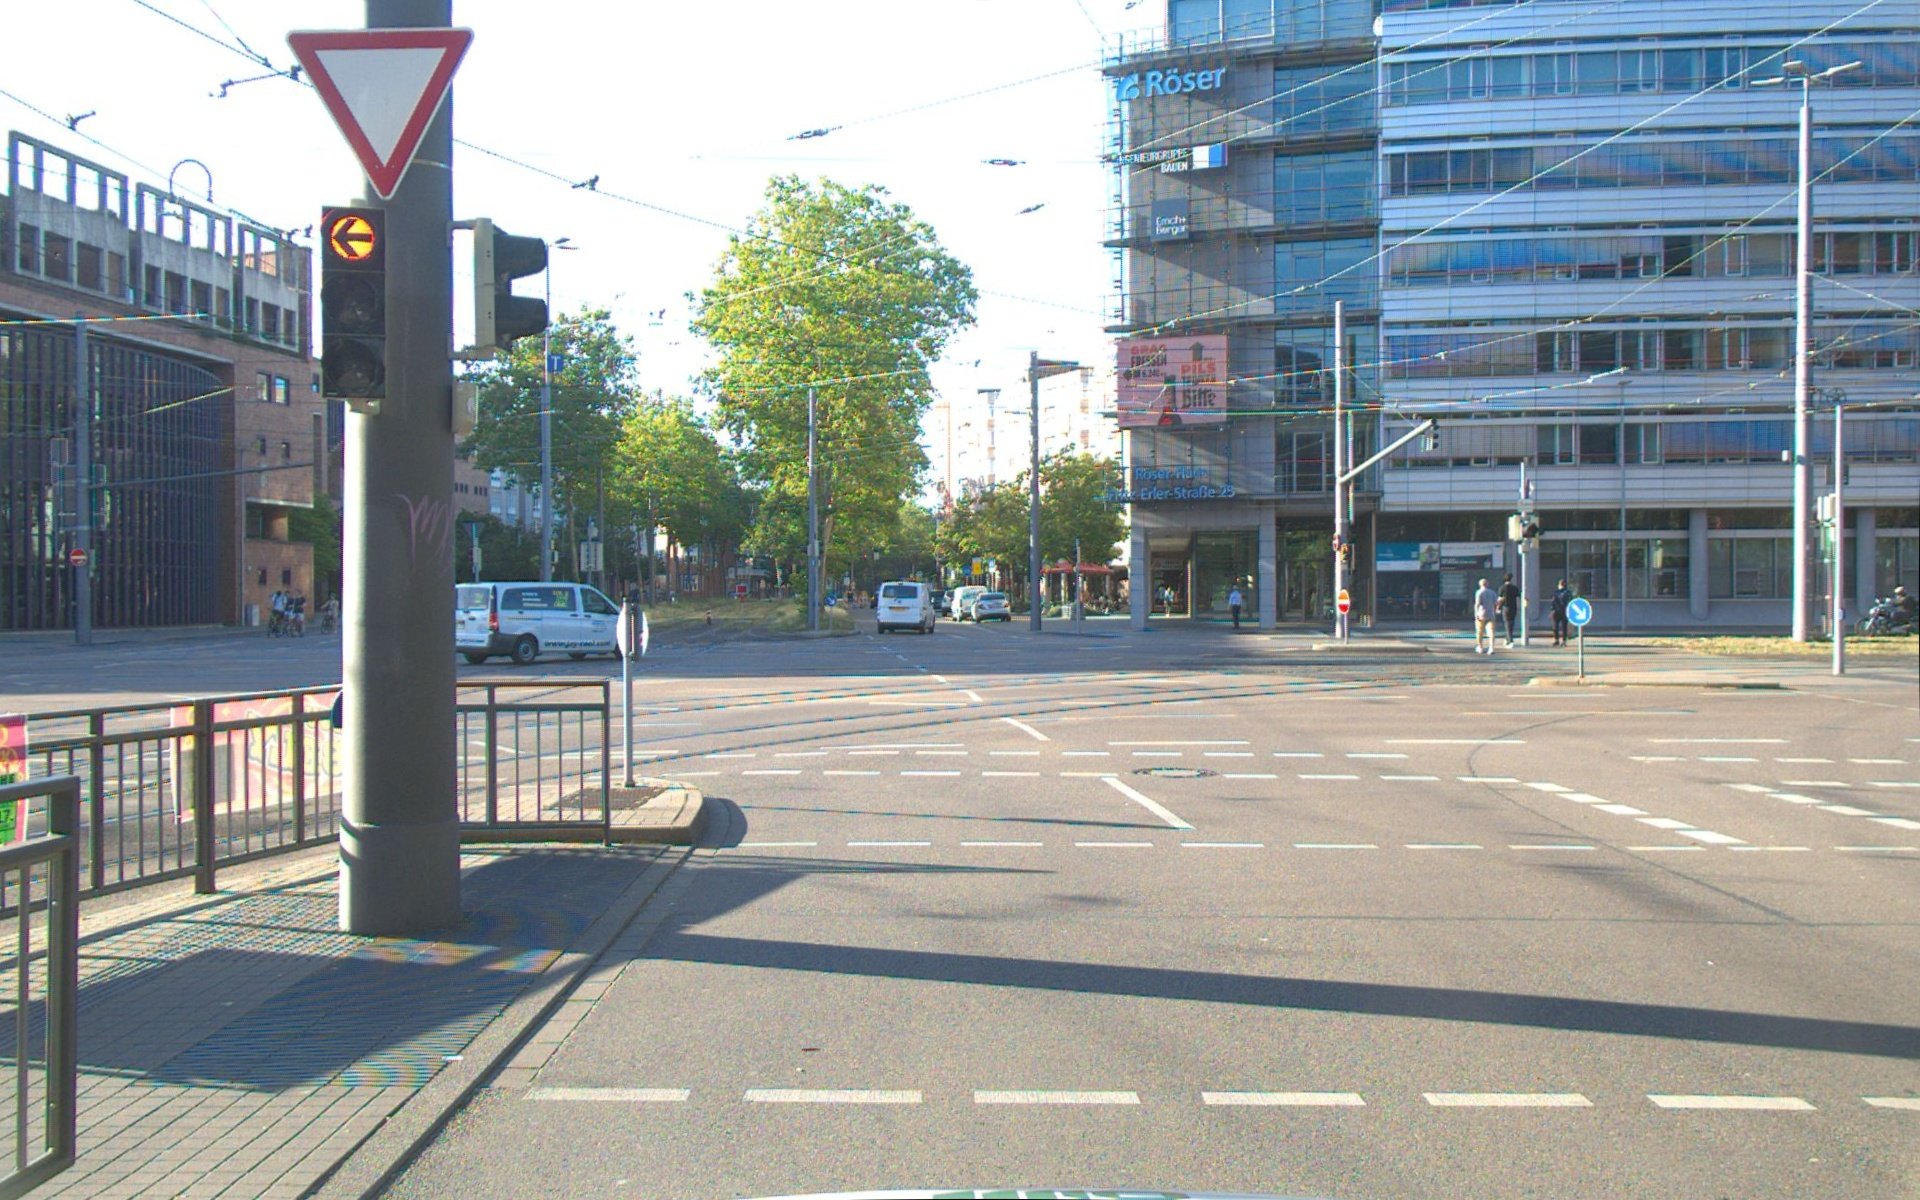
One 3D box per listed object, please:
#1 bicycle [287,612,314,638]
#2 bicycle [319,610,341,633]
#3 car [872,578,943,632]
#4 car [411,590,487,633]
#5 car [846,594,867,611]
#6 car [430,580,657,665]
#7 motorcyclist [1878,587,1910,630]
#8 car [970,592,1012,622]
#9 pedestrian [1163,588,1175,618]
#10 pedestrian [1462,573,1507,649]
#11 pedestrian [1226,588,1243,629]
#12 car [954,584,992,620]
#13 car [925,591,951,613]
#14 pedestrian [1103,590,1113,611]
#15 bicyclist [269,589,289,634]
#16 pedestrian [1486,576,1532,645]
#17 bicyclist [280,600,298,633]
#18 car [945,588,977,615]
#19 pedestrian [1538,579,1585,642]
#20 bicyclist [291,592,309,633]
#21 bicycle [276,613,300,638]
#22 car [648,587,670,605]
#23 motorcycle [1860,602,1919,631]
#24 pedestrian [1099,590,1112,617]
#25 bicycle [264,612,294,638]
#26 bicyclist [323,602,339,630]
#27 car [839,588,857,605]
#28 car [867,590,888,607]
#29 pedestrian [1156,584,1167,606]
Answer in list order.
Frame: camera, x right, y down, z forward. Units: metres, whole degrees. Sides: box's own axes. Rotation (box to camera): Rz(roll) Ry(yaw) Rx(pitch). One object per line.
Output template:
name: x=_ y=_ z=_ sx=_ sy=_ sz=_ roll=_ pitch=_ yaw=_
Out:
bicycle: x=-26.012 y=0.970 z=65.244 sx=0.463 sy=0.980 sz=1.575 roll=-1 pitch=0 yaw=-1
bicycle: x=-27.083 y=0.923 z=71.111 sx=0.442 sy=0.980 sz=1.347 roll=-1 pitch=0 yaw=-1
car: x=-1.878 y=0.151 z=60.645 sx=1.718 sy=1.899 sz=4.529 roll=-1 pitch=0 yaw=9
car: x=-20.668 y=0.444 z=67.037 sx=1.953 sy=1.668 sz=3.999 roll=-1 pitch=0 yaw=-2
car: x=-9.151 y=0.216 z=146.999 sx=1.762 sy=1.467 sz=3.998 roll=1 pitch=0 yaw=-3
car: x=-9.785 y=0.483 z=39.302 sx=1.926 sy=1.881 sz=5.314 roll=-1 pitch=0 yaw=34
motorcyclist: x=27.994 y=0.255 z=49.575 sx=0.697 sy=1.298 sz=0.460 roll=-1 pitch=0 yaw=3
car: x=1.536 y=0.334 z=82.789 sx=1.953 sy=1.400 sz=3.999 roll=-1 pitch=0 yaw=-1
pedestrian: x=10.576 y=0.156 z=83.765 sx=0.599 sy=1.534 sz=0.579 roll=-1 pitch=0 yaw=7
pedestrian: x=12.819 y=0.269 z=40.435 sx=0.845 sy=1.820 sz=0.872 roll=-1 pitch=0 yaw=4
pedestrian: x=10.512 y=0.320 z=63.365 sx=0.599 sy=1.534 sz=0.579 roll=-1 pitch=0 yaw=3
car: x=0.687 y=0.114 z=89.575 sx=1.953 sy=1.892 sz=3.999 roll=-1 pitch=0 yaw=-1
car: x=-1.679 y=0.128 z=126.635 sx=1.953 sy=1.646 sz=3.999 roll=-1 pitch=0 yaw=-1
pedestrian: x=9.404 y=0.025 z=105.074 sx=0.565 sy=1.311 sz=0.910 roll=-1 pitch=0 yaw=-1
bicyclist: x=-26.828 y=0.448 z=65.165 sx=0.525 sy=1.761 sz=0.581 roll=-1 pitch=0 yaw=-1
pedestrian: x=13.951 y=0.258 z=42.077 sx=0.893 sy=1.714 sz=1.036 roll=-1 pitch=0 yaw=6
bicyclist: x=-27.636 y=0.669 z=68.133 sx=0.495 sy=1.327 sz=0.581 roll=-1 pitch=0 yaw=-1
car: x=0.036 y=0.068 z=105.211 sx=1.953 sy=1.646 sz=3.999 roll=-1 pitch=0 yaw=-1
pedestrian: x=15.252 y=0.262 z=41.941 sx=0.928 sy=1.591 sz=0.897 roll=-1 pitch=0 yaw=6
bicyclist: x=-26.026 y=0.485 z=65.249 sx=0.449 sy=1.631 sz=0.581 roll=-1 pitch=0 yaw=-1
bicycle: x=-27.641 y=1.036 z=68.064 sx=0.458 sy=0.980 sz=1.320 roll=-1 pitch=0 yaw=-1
car: x=-34.200 y=-0.453 z=188.070 sx=1.954 sy=2.049 sz=3.997 roll=-1 pitch=0 yaw=-3
motorcycle: x=27.891 y=0.496 z=49.577 sx=1.535 sy=0.824 sz=0.467 roll=-1 pitch=0 yaw=3
pedestrian: x=9.254 y=0.225 z=105.070 sx=0.729 sy=1.744 sz=0.612 roll=-1 pitch=0 yaw=-1
bicycle: x=-26.829 y=0.967 z=65.154 sx=0.531 sy=0.980 sz=1.586 roll=-1 pitch=0 yaw=-1
bicyclist: x=-27.094 y=0.700 z=71.240 sx=0.495 sy=1.199 sz=0.581 roll=-1 pitch=0 yaw=-1
car: x=-13.842 y=-0.490 z=205.046 sx=1.953 sy=2.049 sz=3.999 roll=-1 pitch=0 yaw=-1
car: x=-7.390 y=-0.165 z=148.926 sx=1.761 sy=1.467 sz=3.999 roll=-1 pitch=0 yaw=-1
pedestrian: x=16.002 y=-0.423 z=131.370 sx=0.729 sy=1.744 sz=0.612 roll=-1 pitch=0 yaw=-1
